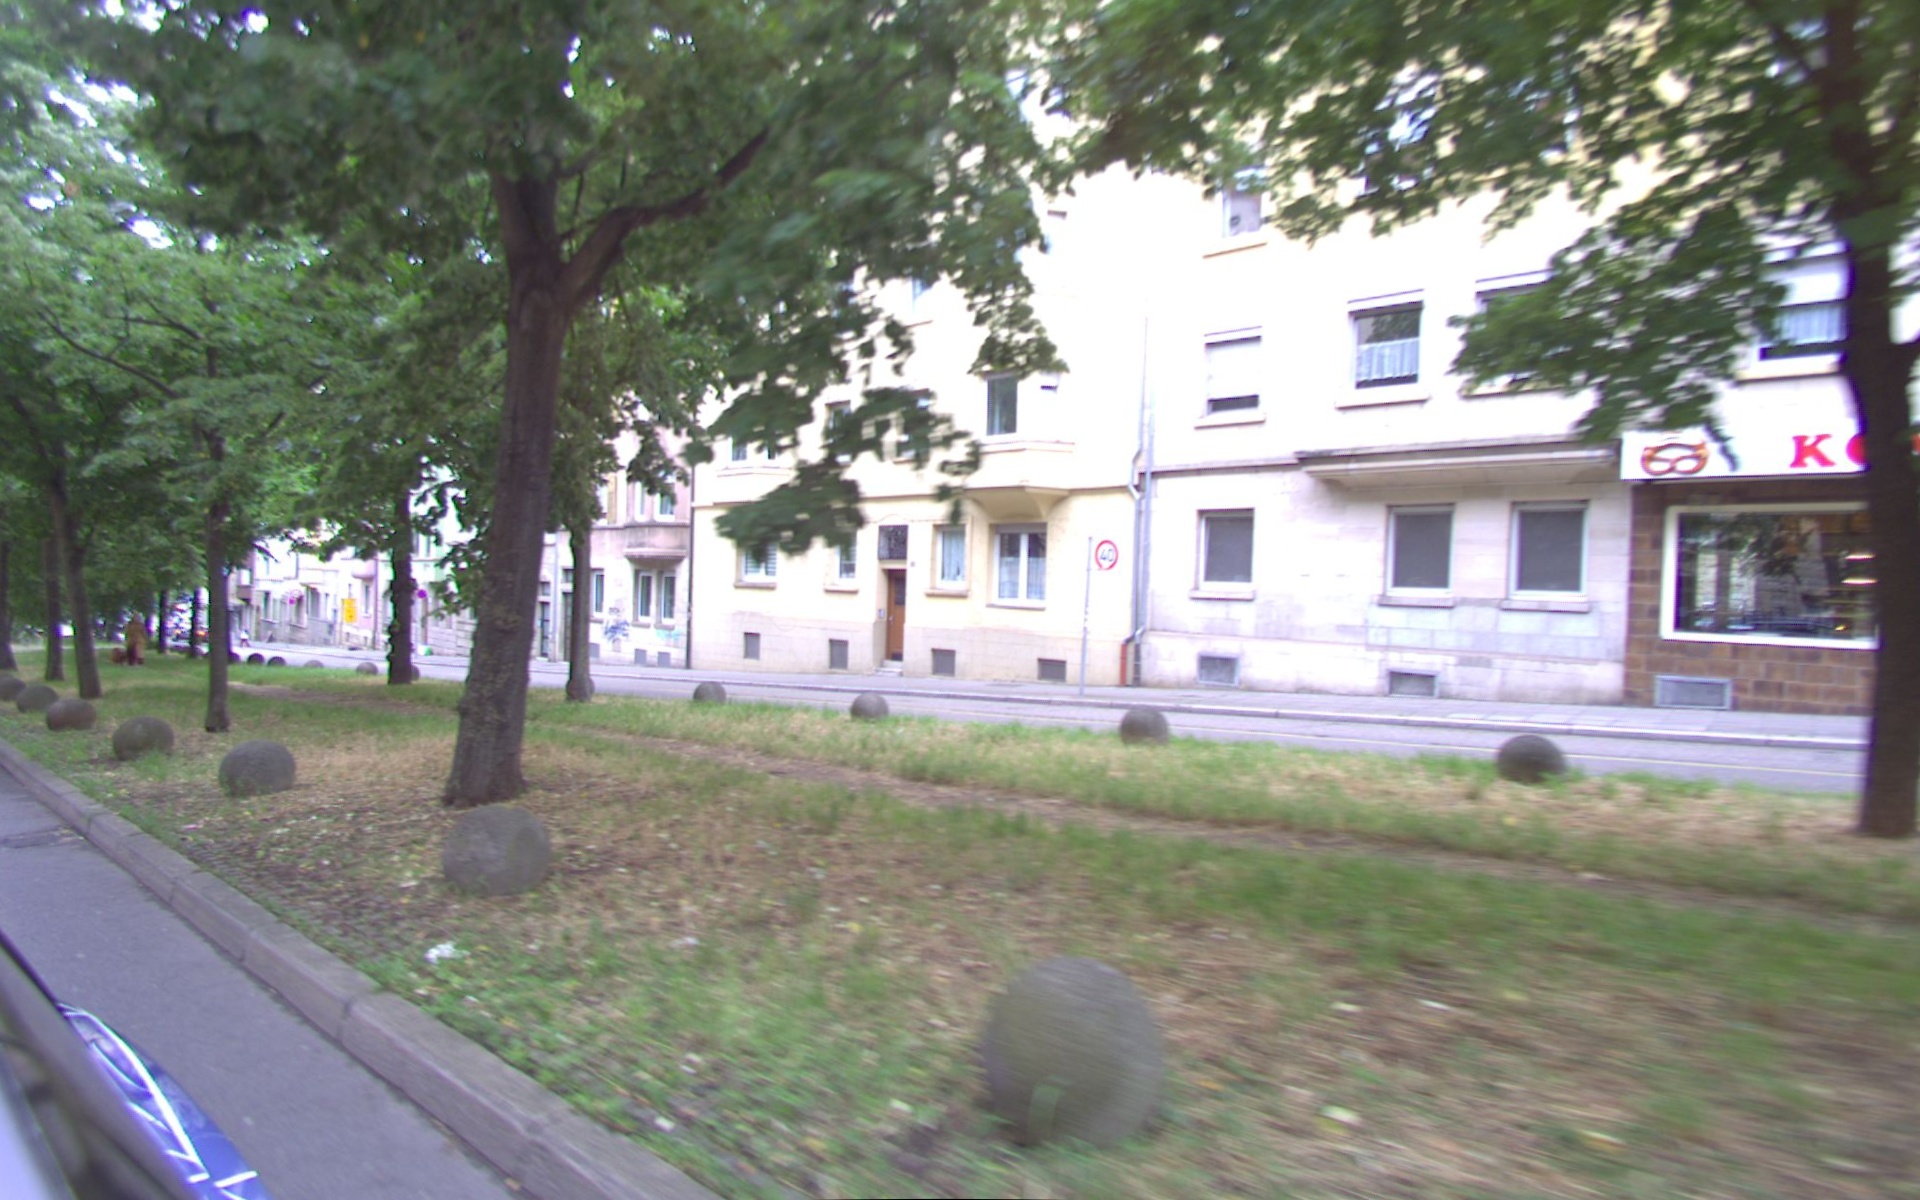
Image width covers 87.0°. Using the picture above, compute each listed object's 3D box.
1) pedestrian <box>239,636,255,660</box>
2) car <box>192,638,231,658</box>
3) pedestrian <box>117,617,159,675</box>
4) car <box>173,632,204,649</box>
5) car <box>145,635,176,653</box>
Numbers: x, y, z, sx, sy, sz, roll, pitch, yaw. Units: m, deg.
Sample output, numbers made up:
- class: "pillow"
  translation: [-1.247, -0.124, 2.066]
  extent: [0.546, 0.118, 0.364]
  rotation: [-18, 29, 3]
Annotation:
- class: "pedestrian"
  translation: [-43.017, 2.894, 61.055]
  extent: [0.690, 1.471, 0.705]
  rotation: [0, -2, -42]
- class: "car"
  translation: [-54.085, 3.494, 73.085]
  extent: [1.737, 1.393, 4.673]
  rotation: [3, -4, -42]
- class: "pedestrian"
  translation: [-25.457, 1.426, 31.347]
  extent: [0.823, 1.725, 1.124]
  rotation: [6, -3, -43]
- class: "car"
  translation: [-67.293, 3.563, 88.282]
  extent: [1.688, 1.393, 4.673]
  rotation: [3, -4, -42]
- class: "car"
  translation: [-78.420, 4.330, 99.241]
  extent: [1.794, 1.649, 4.683]
  rotation: [4, -3, -44]
